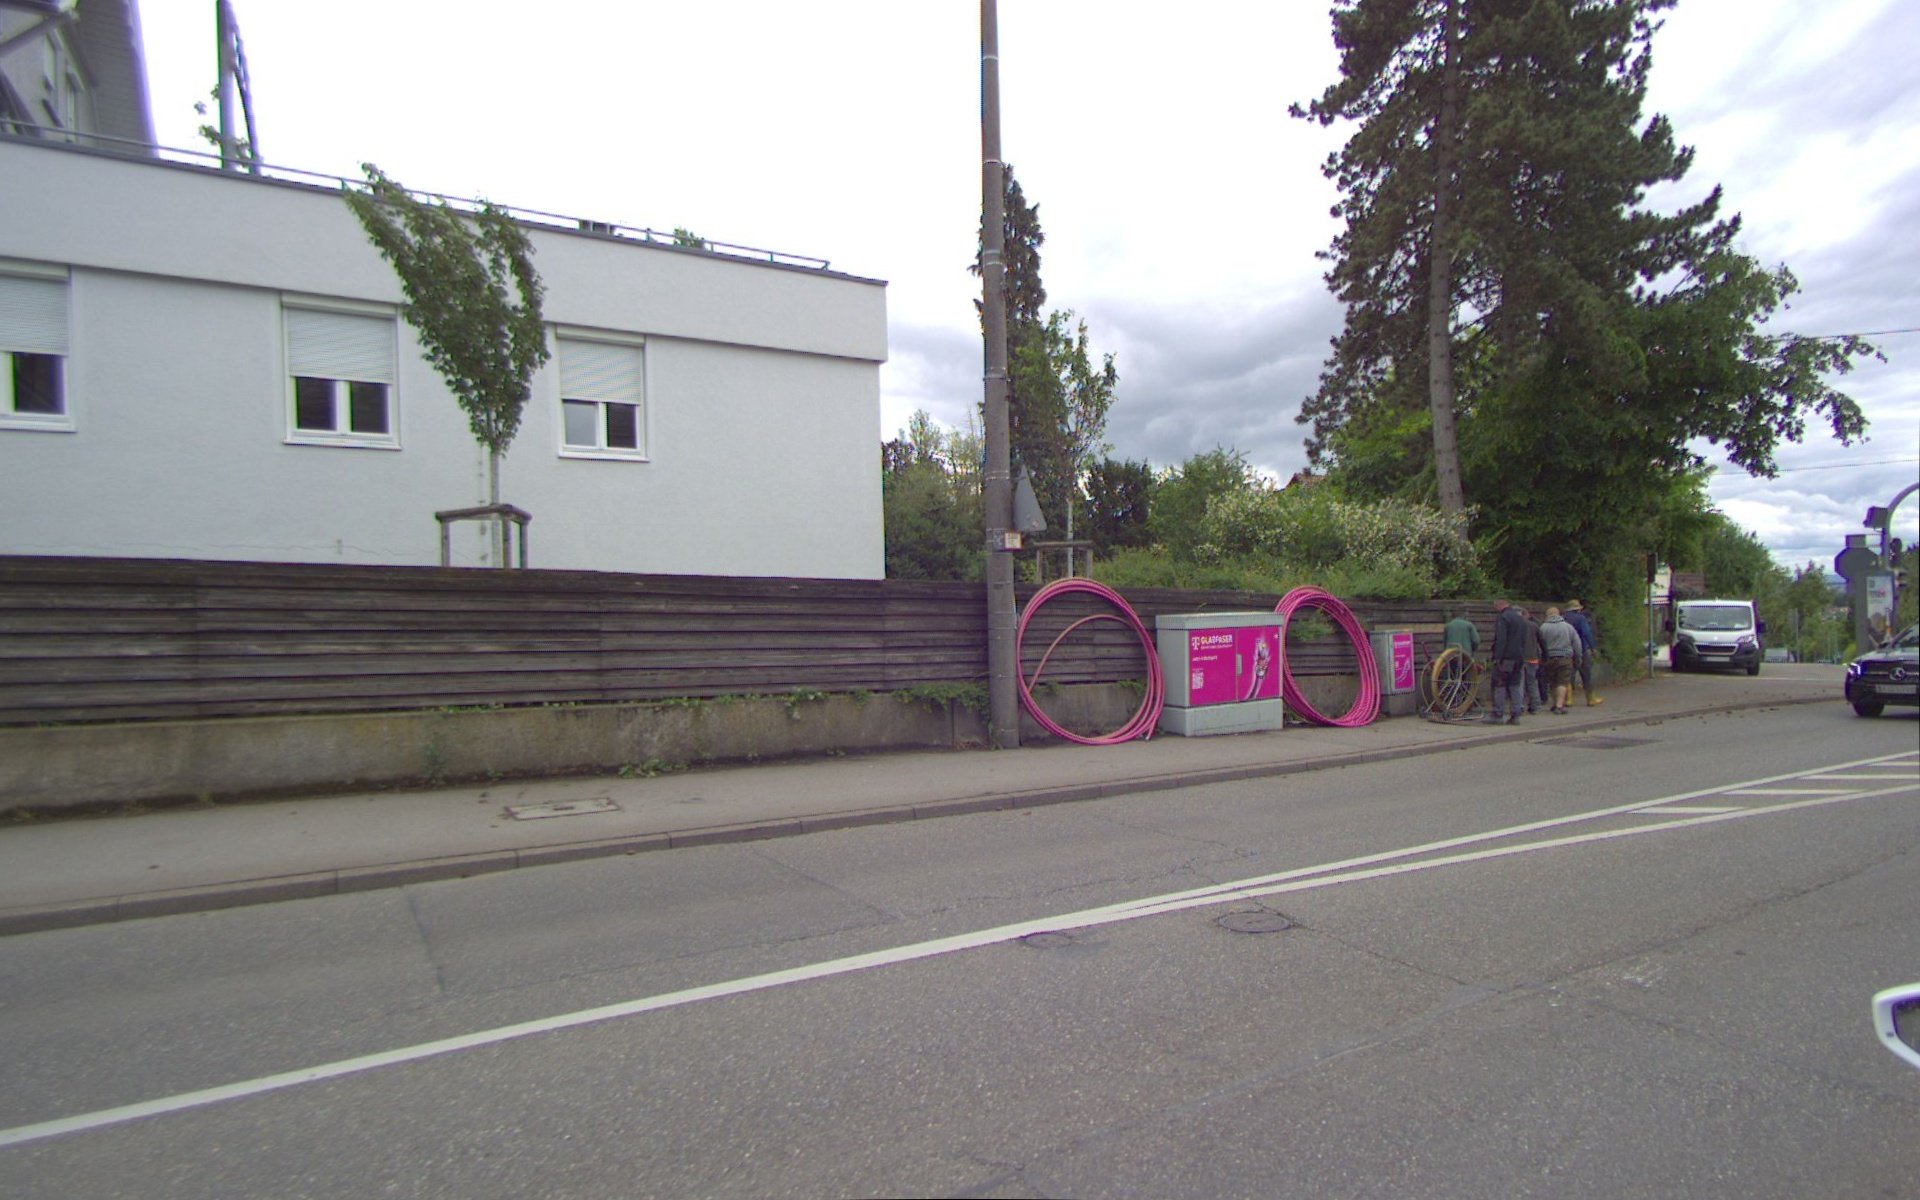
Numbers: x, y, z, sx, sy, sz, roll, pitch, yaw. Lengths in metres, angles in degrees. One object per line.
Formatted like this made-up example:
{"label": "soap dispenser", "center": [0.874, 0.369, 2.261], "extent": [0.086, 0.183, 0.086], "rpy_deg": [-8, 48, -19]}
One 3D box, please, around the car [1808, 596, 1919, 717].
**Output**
{"label": "car", "center": [16.433, 0.889, 16.552], "extent": [4.456, 1.821, 1.989], "rpy_deg": [1, -1, -23]}

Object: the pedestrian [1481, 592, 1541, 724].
{"label": "pedestrian", "center": [7.996, 0.823, 14.578], "extent": [0.739, 1.861, 0.613], "rpy_deg": [-1, -1, 29]}

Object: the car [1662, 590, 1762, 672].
{"label": "car", "center": [23.251, 0.920, 30.969], "extent": [2.252, 2.257, 6.444], "rpy_deg": [-1, -1, 38]}

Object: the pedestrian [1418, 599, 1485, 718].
{"label": "pedestrian", "center": [7.701, 0.890, 15.719], "extent": [0.804, 1.787, 0.865], "rpy_deg": [-1, -1, 35]}

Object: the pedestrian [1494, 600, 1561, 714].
{"label": "pedestrian", "center": [8.985, 0.894, 15.934], "extent": [0.737, 1.757, 0.696], "rpy_deg": [0, -1, 13]}

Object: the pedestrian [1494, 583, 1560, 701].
{"label": "pedestrian", "center": [10.054, 0.733, 17.810], "extent": [0.803, 2.040, 0.702], "rpy_deg": [0, 0, -29]}

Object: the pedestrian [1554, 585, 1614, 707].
{"label": "pedestrian", "center": [10.769, 0.772, 17.327], "extent": [0.699, 2.040, 1.017], "rpy_deg": [0, -1, 43]}

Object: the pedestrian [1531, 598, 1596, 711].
{"label": "pedestrian", "center": [9.819, 0.871, 16.341], "extent": [0.857, 1.777, 0.692], "rpy_deg": [0, -1, 35]}
